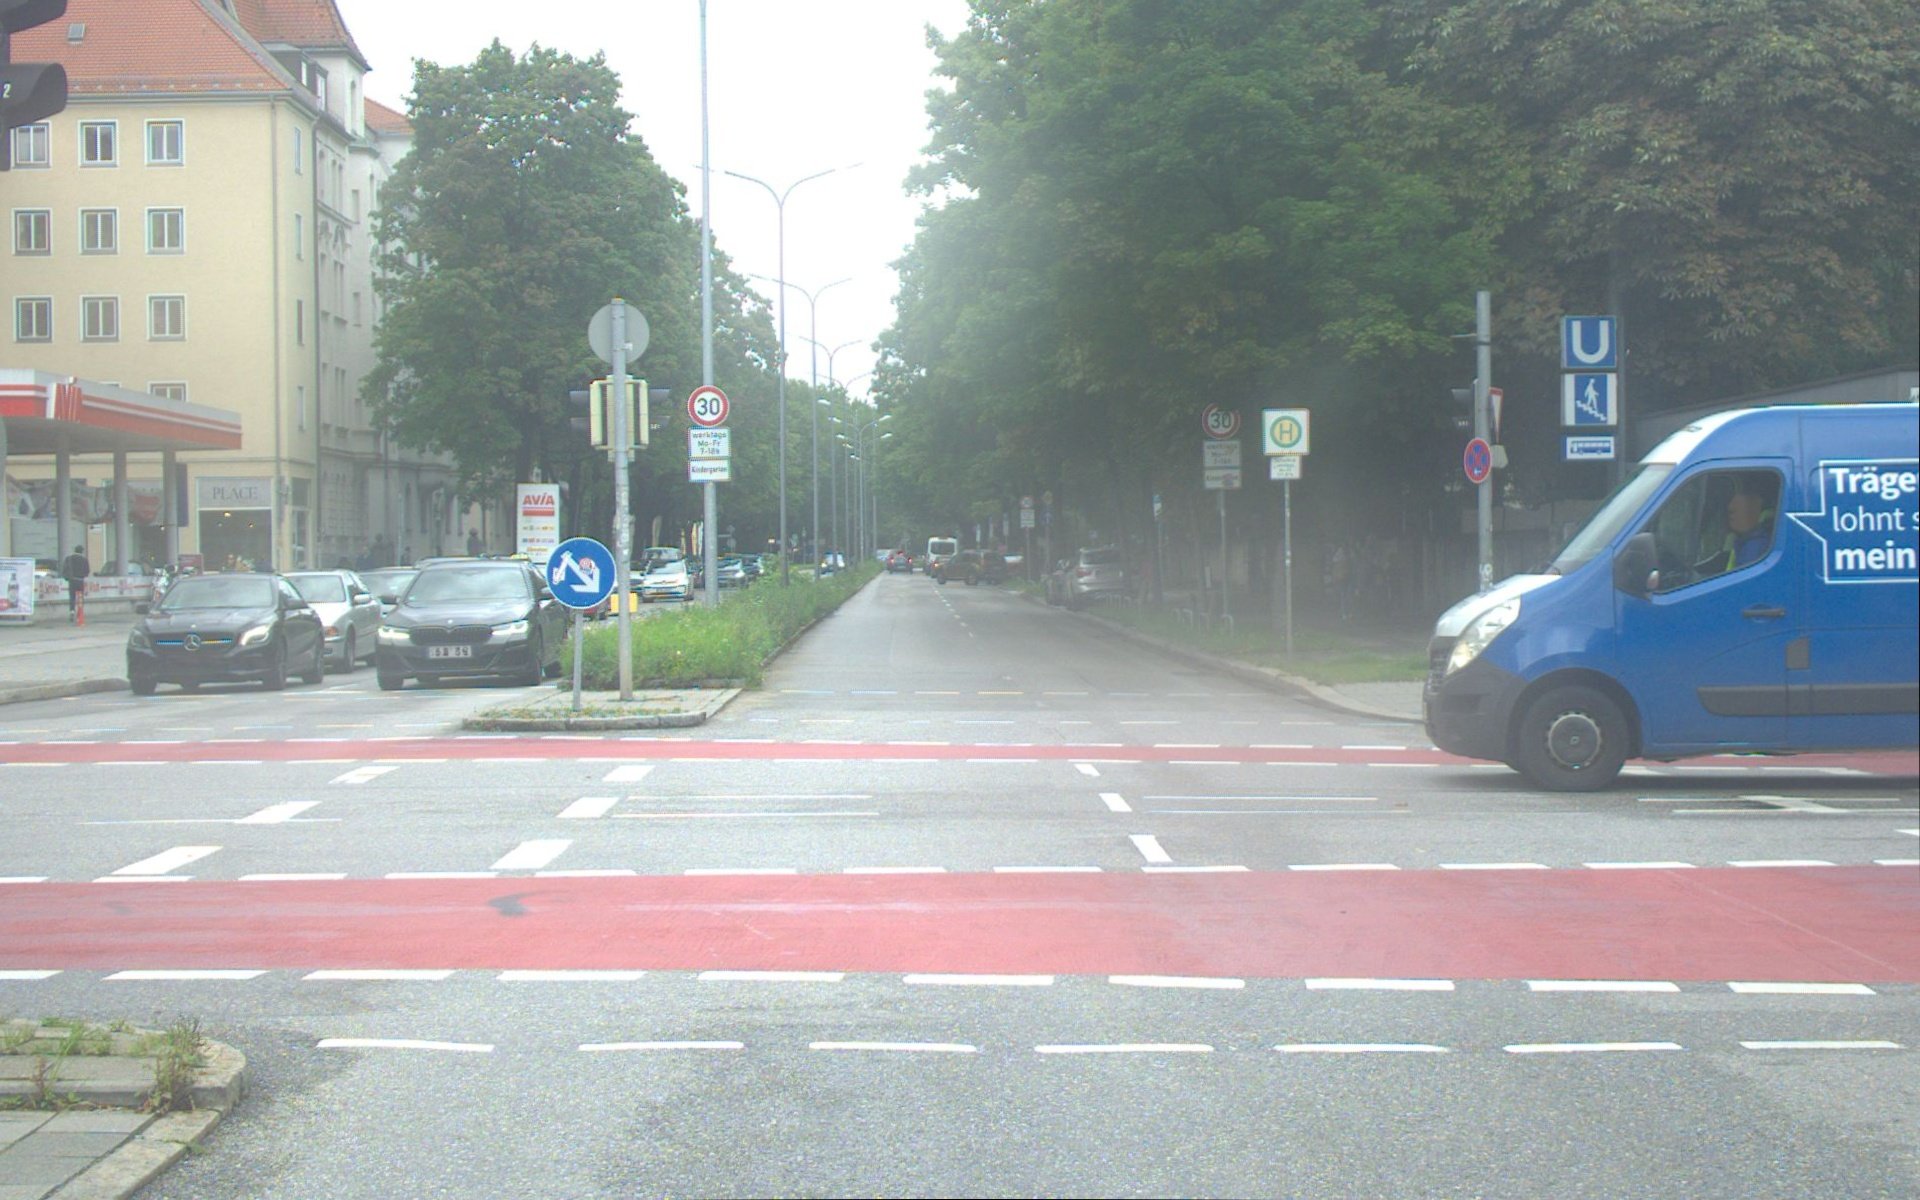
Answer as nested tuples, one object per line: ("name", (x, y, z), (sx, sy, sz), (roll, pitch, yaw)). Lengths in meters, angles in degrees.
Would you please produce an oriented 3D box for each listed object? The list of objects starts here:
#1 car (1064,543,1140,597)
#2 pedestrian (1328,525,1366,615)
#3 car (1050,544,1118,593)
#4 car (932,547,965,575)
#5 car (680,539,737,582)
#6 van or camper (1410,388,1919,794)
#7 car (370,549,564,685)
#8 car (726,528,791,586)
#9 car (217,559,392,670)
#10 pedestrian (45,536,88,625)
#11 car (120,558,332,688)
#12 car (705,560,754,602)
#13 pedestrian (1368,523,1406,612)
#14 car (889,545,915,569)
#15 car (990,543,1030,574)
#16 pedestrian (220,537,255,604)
("car", (3.671, -0.798, 89.644), (1.743, 1.358, 3.807), (-1, 1, -1))
("pedestrian", (7.285, -0.568, 64.730), (0.678, 1.677, 0.682), (0, 1, 5))
("car", (3.587, -0.930, 99.716), (1.743, 1.358, 3.807), (-1, 1, -1))
("car", (-0.716, -2.354, 207.283), (1.922, 1.678, 4.000), (-1, 1, -1))
("car", (-8.744, -1.401, 119.857), (1.759, 1.455, 4.000), (-1, 1, -1))
("van or camper", (5.750, -0.077, 21.962), (5.553, 2.461, 2.067), (0, 1, 4))
("car", (-5.735, 0.164, 40.359), (1.759, 1.488, 4.000), (-1, 1, -1))
("car", (-4.992, -1.073, 85.565), (1.468, 1.394, 3.700), (-1, 1, -1))
("car", (-9.203, 0.169, 48.545), (1.759, 1.455, 4.000), (-1, 1, -1))
("pedestrian", (-20.256, -0.447, 77.929), (0.730, 2.007, 0.834), (1, 0, -1))
("car", (-8.817, 0.236, 41.572), (1.759, 1.455, 4.000), (-1, 1, -1))
("car", (-10.314, -0.886, 154.260), (1.952, 1.817, 4.000), (0, 1, -1))
("pedestrian", (8.061, -0.618, 64.870), (0.678, 1.677, 0.682), (0, 1, 5))
("car", (-4.145, -3.053, 246.007), (1.857, 1.678, 4.000), (-1, 1, -1))
("car", (2.349, -1.973, 161.418), (1.743, 1.422, 3.899), (-1, 1, -1))
("pedestrian", (-17.664, -0.730, 84.033), (0.696, 1.632, 0.738), (-1, 1, -1))
